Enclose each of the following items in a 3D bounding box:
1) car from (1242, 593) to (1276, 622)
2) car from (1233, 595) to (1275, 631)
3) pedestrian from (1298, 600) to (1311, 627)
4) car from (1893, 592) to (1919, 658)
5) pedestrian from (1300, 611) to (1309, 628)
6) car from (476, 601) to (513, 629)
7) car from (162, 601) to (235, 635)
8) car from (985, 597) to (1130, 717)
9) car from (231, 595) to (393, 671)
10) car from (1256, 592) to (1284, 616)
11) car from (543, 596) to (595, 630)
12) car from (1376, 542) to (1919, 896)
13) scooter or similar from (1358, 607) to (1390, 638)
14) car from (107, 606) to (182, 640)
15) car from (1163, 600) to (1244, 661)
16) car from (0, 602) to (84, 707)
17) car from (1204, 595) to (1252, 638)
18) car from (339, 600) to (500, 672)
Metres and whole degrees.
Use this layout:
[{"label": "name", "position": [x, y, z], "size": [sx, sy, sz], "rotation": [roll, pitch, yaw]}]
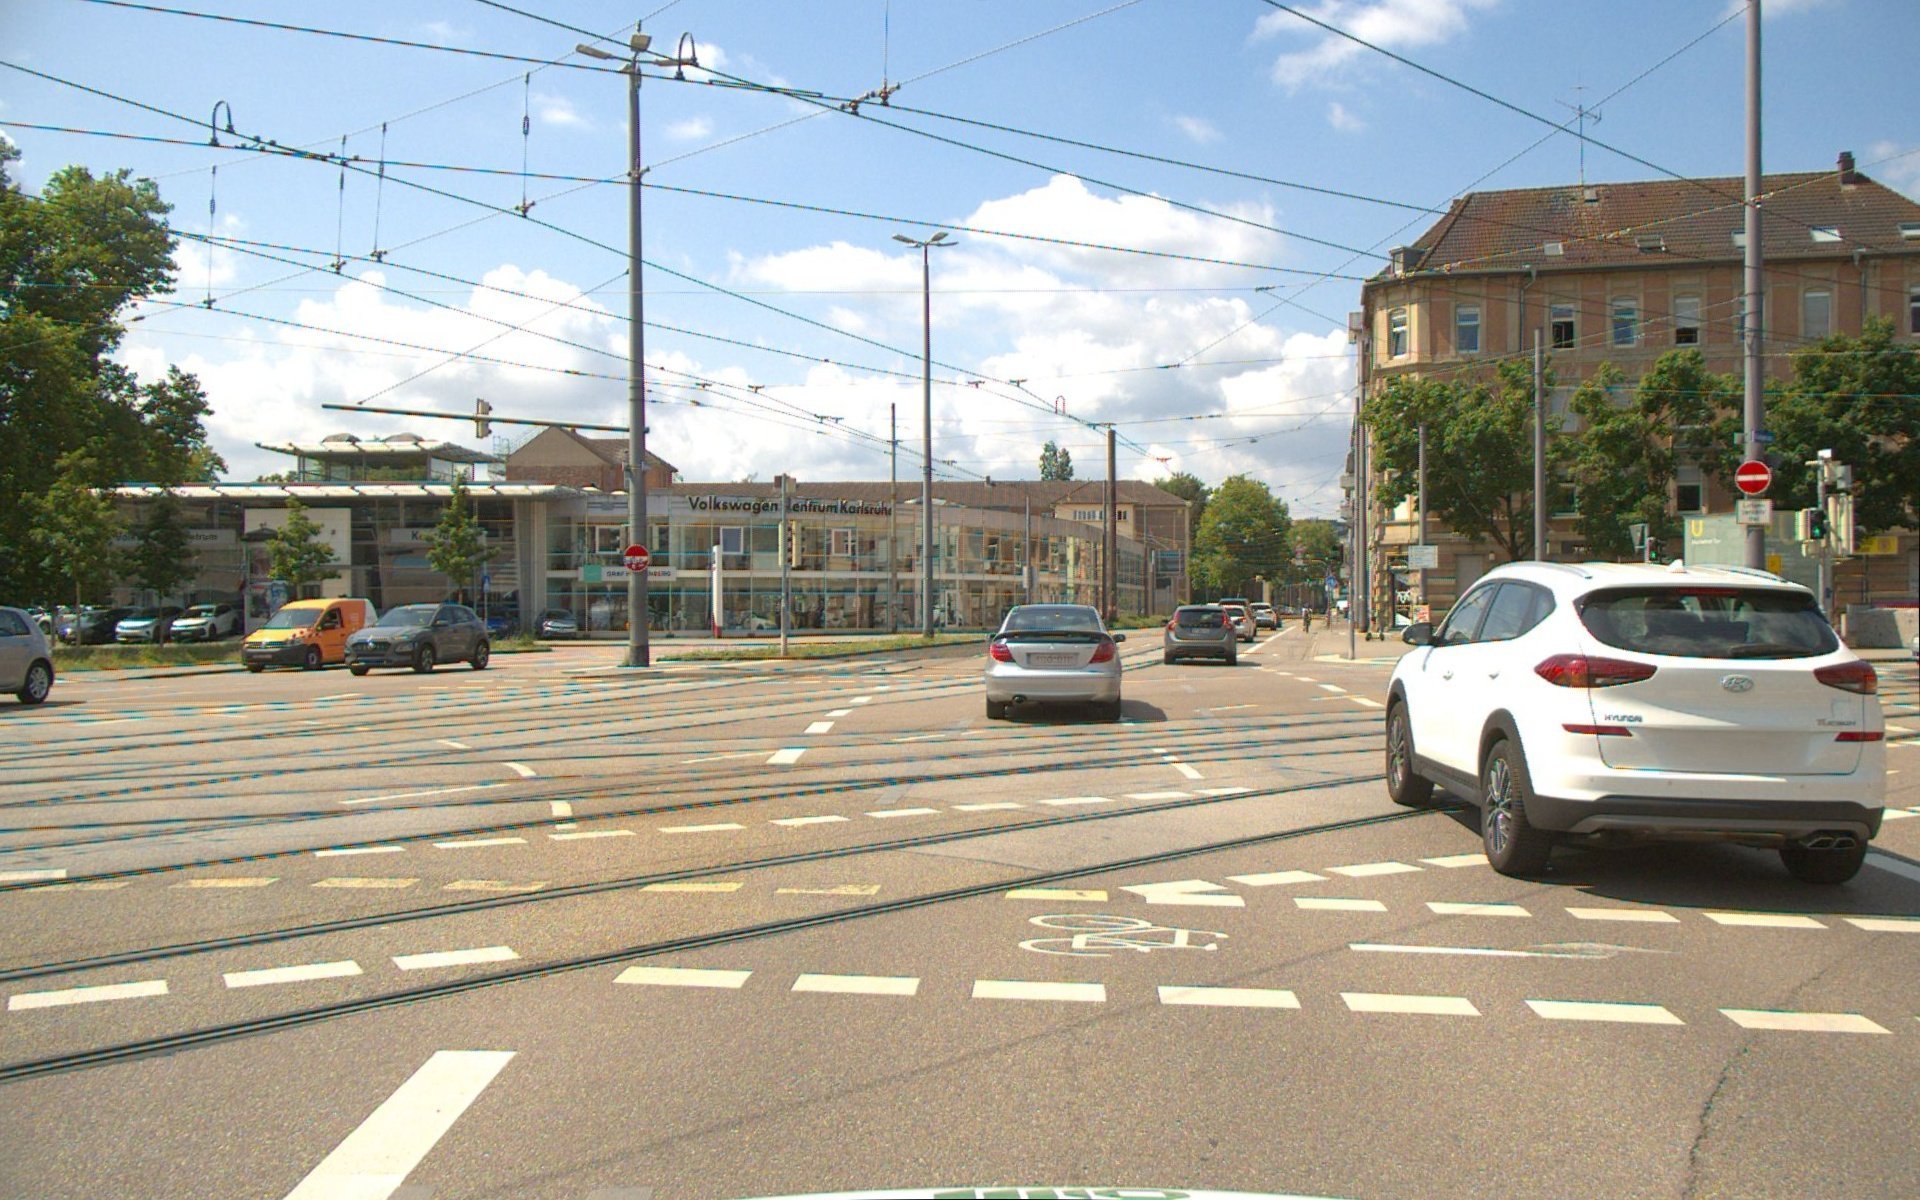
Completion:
[{"label": "car", "position": [18.054, 0.437, 99.714], "size": [1.841, 1.670, 3.960], "rotation": [0, 0, 12]}, {"label": "car", "position": [14.096, 0.623, 79.072], "size": [1.841, 1.670, 3.960], "rotation": [0, 0, 12]}, {"label": "pedestrian", "position": [18.964, 0.730, 90.999], "size": [0.677, 1.483, 0.680], "rotation": [0, -2, 12]}, {"label": "car", "position": [23.726, 0.551, 38.176], "size": [4.071, 1.499, 1.711], "rotation": [0, 0, -24]}, {"label": "pedestrian", "position": [18.953, 1.090, 90.978], "size": [0.513, 0.922, 1.562], "rotation": [0, -2, 11]}, {"label": "car", "position": [-22.825, 0.748, 81.053], "size": [1.622, 1.272, 3.981], "rotation": [1, -1, -17]}, {"label": "car", "position": [-37.314, 0.914, 81.183], "size": [1.955, 1.602, 4.172], "rotation": [1, -1, -6]}, {"label": "car", "position": [1.246, 0.677, 21.623], "size": [1.705, 1.416, 4.181], "rotation": [0, 0, 3]}, {"label": "car", "position": [-16.682, 0.821, 42.851], "size": [1.681, 1.832, 4.744], "rotation": [-1, 0, 10]}, {"label": "car", "position": [21.698, 0.263, 115.661], "size": [1.841, 1.670, 3.960], "rotation": [0, 0, 12]}, {"label": "car", "position": [-19.638, 0.685, 83.205], "size": [1.955, 1.602, 3.995], "rotation": [1, -1, -6]}, {"label": "car", "position": [3.862, 0.563, 9.963], "size": [1.842, 1.670, 4.234], "rotation": [0, 0, 3]}, {"label": "scooter or similar", "position": [16.059, 0.887, 64.147], "size": [1.507, 1.194, 0.377], "rotation": [2, -2, -41]}, {"label": "car", "position": [-40.165, 1.143, 81.559], "size": [1.955, 1.602, 4.172], "rotation": [1, -1, -6]}, {"label": "car", "position": [6.089, 0.729, 41.708], "size": [1.841, 1.444, 3.959], "rotation": [0, 0, 6]}, {"label": "car", "position": [-14.294, 0.772, 22.993], "size": [1.618, 1.459, 4.274], "rotation": [0, 0, 6]}, {"label": "car", "position": [10.858, 0.644, 66.762], "size": [1.841, 1.670, 3.960], "rotation": [0, 0, 10]}, {"label": "car", "position": [-12.318, 0.789, 37.970], "size": [1.681, 1.558, 4.125], "rotation": [0, 0, 12]}]
